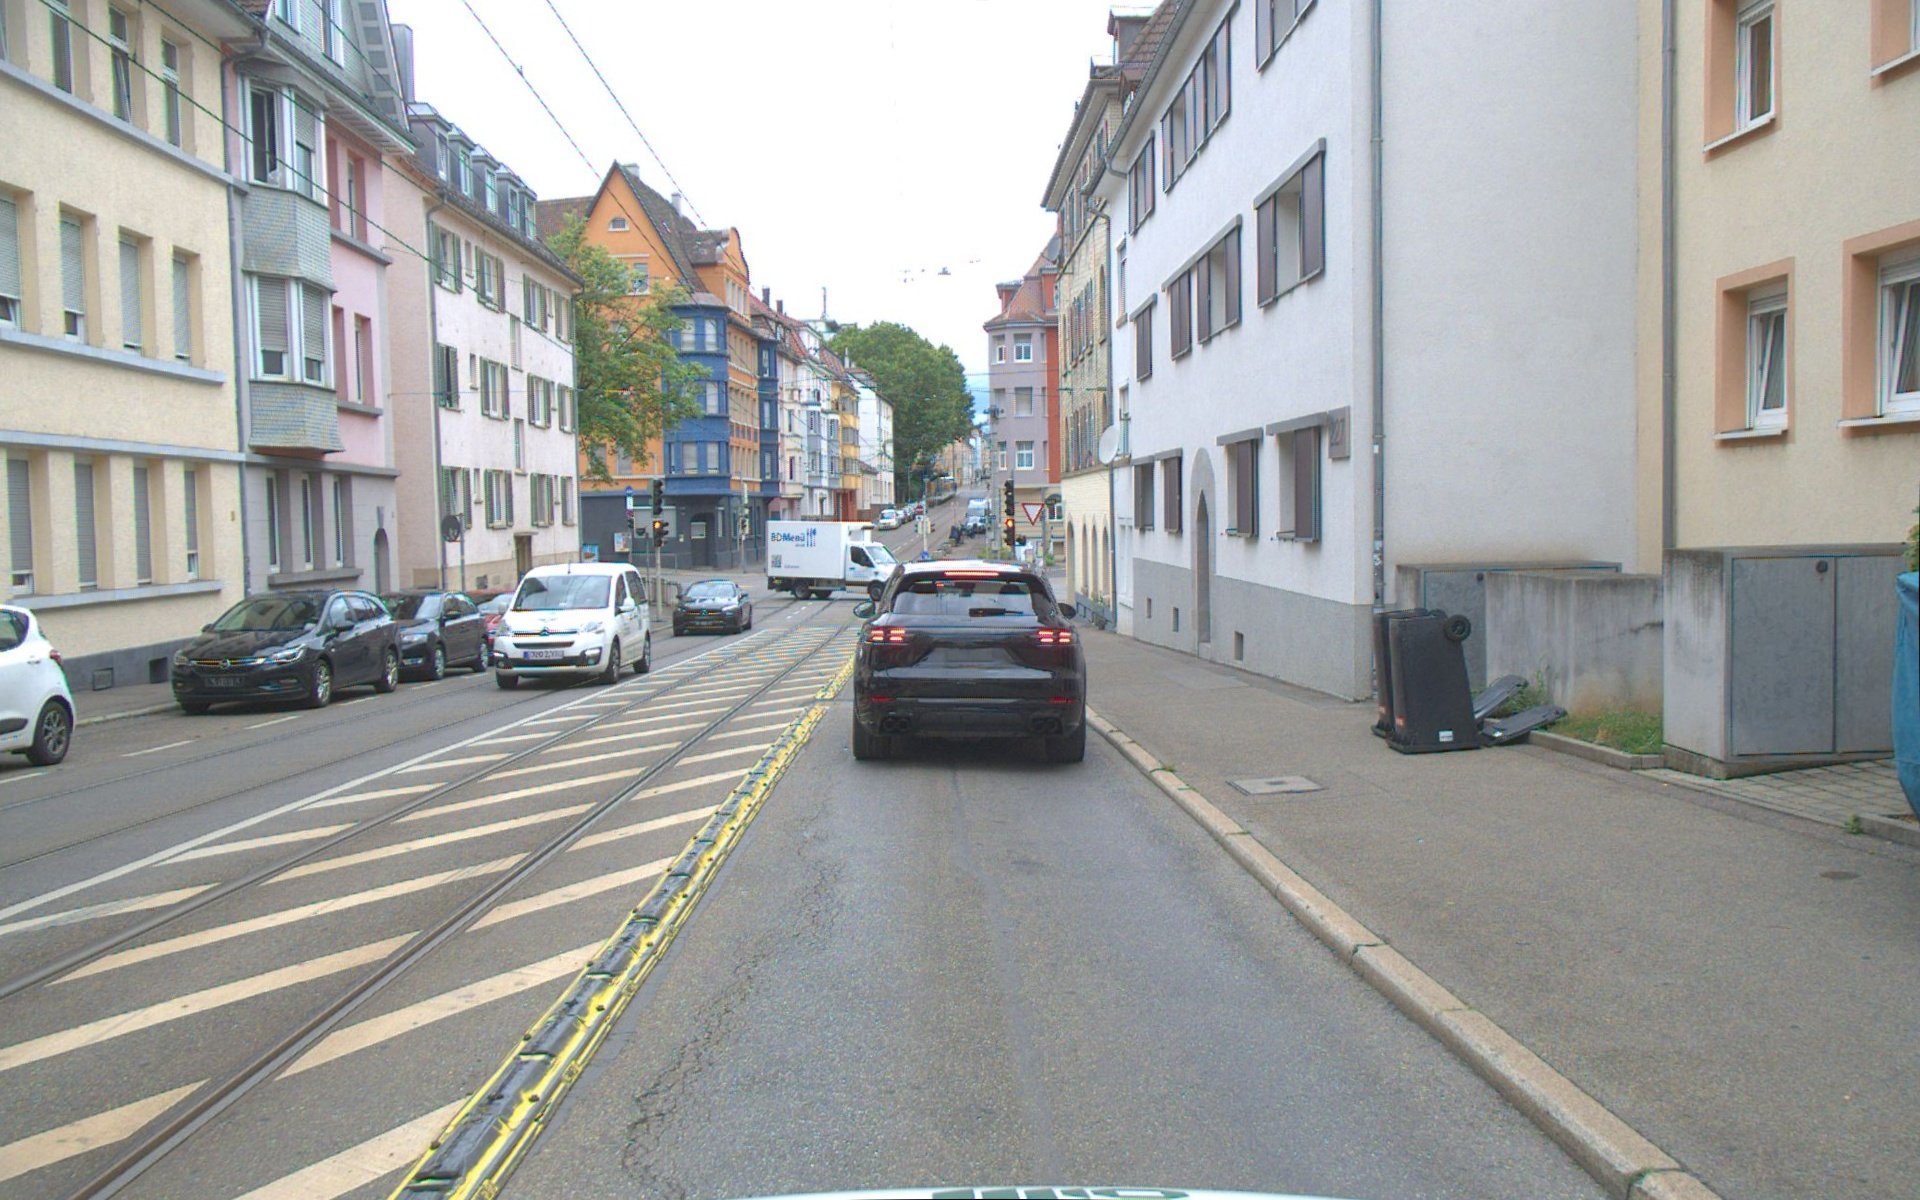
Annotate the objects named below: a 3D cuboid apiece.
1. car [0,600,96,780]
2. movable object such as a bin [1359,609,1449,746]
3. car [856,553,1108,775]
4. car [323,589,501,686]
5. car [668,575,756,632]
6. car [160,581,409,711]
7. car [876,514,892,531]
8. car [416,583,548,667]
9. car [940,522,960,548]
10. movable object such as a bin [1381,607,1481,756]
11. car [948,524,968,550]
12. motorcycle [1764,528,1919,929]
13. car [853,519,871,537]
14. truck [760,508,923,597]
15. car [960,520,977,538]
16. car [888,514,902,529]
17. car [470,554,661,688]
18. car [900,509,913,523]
[{"bbox_3d":[-8.823,0.784,13.514,1.588,1.488,3.684,-2,1,-1],"label":"car"},{"bbox_3d":[3.692,0.635,13.767,0.598,1.098,0.541,-1,1,0],"label":"movable object such as a bin"},{"bbox_3d":[0.123,0.458,14.931,1.953,1.705,3.999,-1,1,-2],"label":"car"},{"bbox_3d":[-9.109,0.567,27.827,1.701,1.434,3.999,-1,1,-1],"label":"car"},{"bbox_3d":[-6.801,0.055,45.775,1.882,1.449,4.497,-1,1,-2],"label":"car"},{"bbox_3d":[-8.834,0.525,22.063,1.588,1.499,4.554,-2,1,-3],"label":"car"},{"bbox_3d":[-7.273,-7.397,157.759,1.366,1.476,3.358,-1,1,-1],"label":"car"},{"bbox_3d":[-9.442,0.443,32.959,1.588,1.516,4.045,-2,1,-3],"label":"car"},{"bbox_3d":[-0.686,-4.443,113.550,1.366,1.752,3.358,-1,1,-1],"label":"car"},{"bbox_3d":[3.637,0.617,12.803,0.576,1.098,0.692,-1,1,1],"label":"movable object such as a bin"},{"bbox_3d":[-0.157,-4.569,120.372,1.366,1.752,3.358,-1,1,-1],"label":"car"},{"bbox_3d":[3.949,0.473,5.979,0.821,1.482,2.553,-1,1,0],"label":"motorcycle"},{"bbox_3d":[-8.358,-6.141,141.701,1.366,1.476,3.358,-1,1,-1],"label":"car"},{"bbox_3d":[-4.808,-1.878,66.853,6.255,3.429,2.345,0,1,26],"label":"truck"},{"bbox_3d":[0.742,-6.214,145.572,1.366,1.476,3.358,-1,1,-1],"label":"car"},{"bbox_3d":[-6.688,-8.118,170.889,1.366,1.476,3.358,-1,1,-1],"label":"car"},{"bbox_3d":[-5.911,0.249,25.292,1.881,1.850,4.218,-1,1,0],"label":"car"},{"bbox_3d":[-5.880,-9.171,180.980,1.366,1.476,3.358,-1,1,-1],"label":"car"}]
